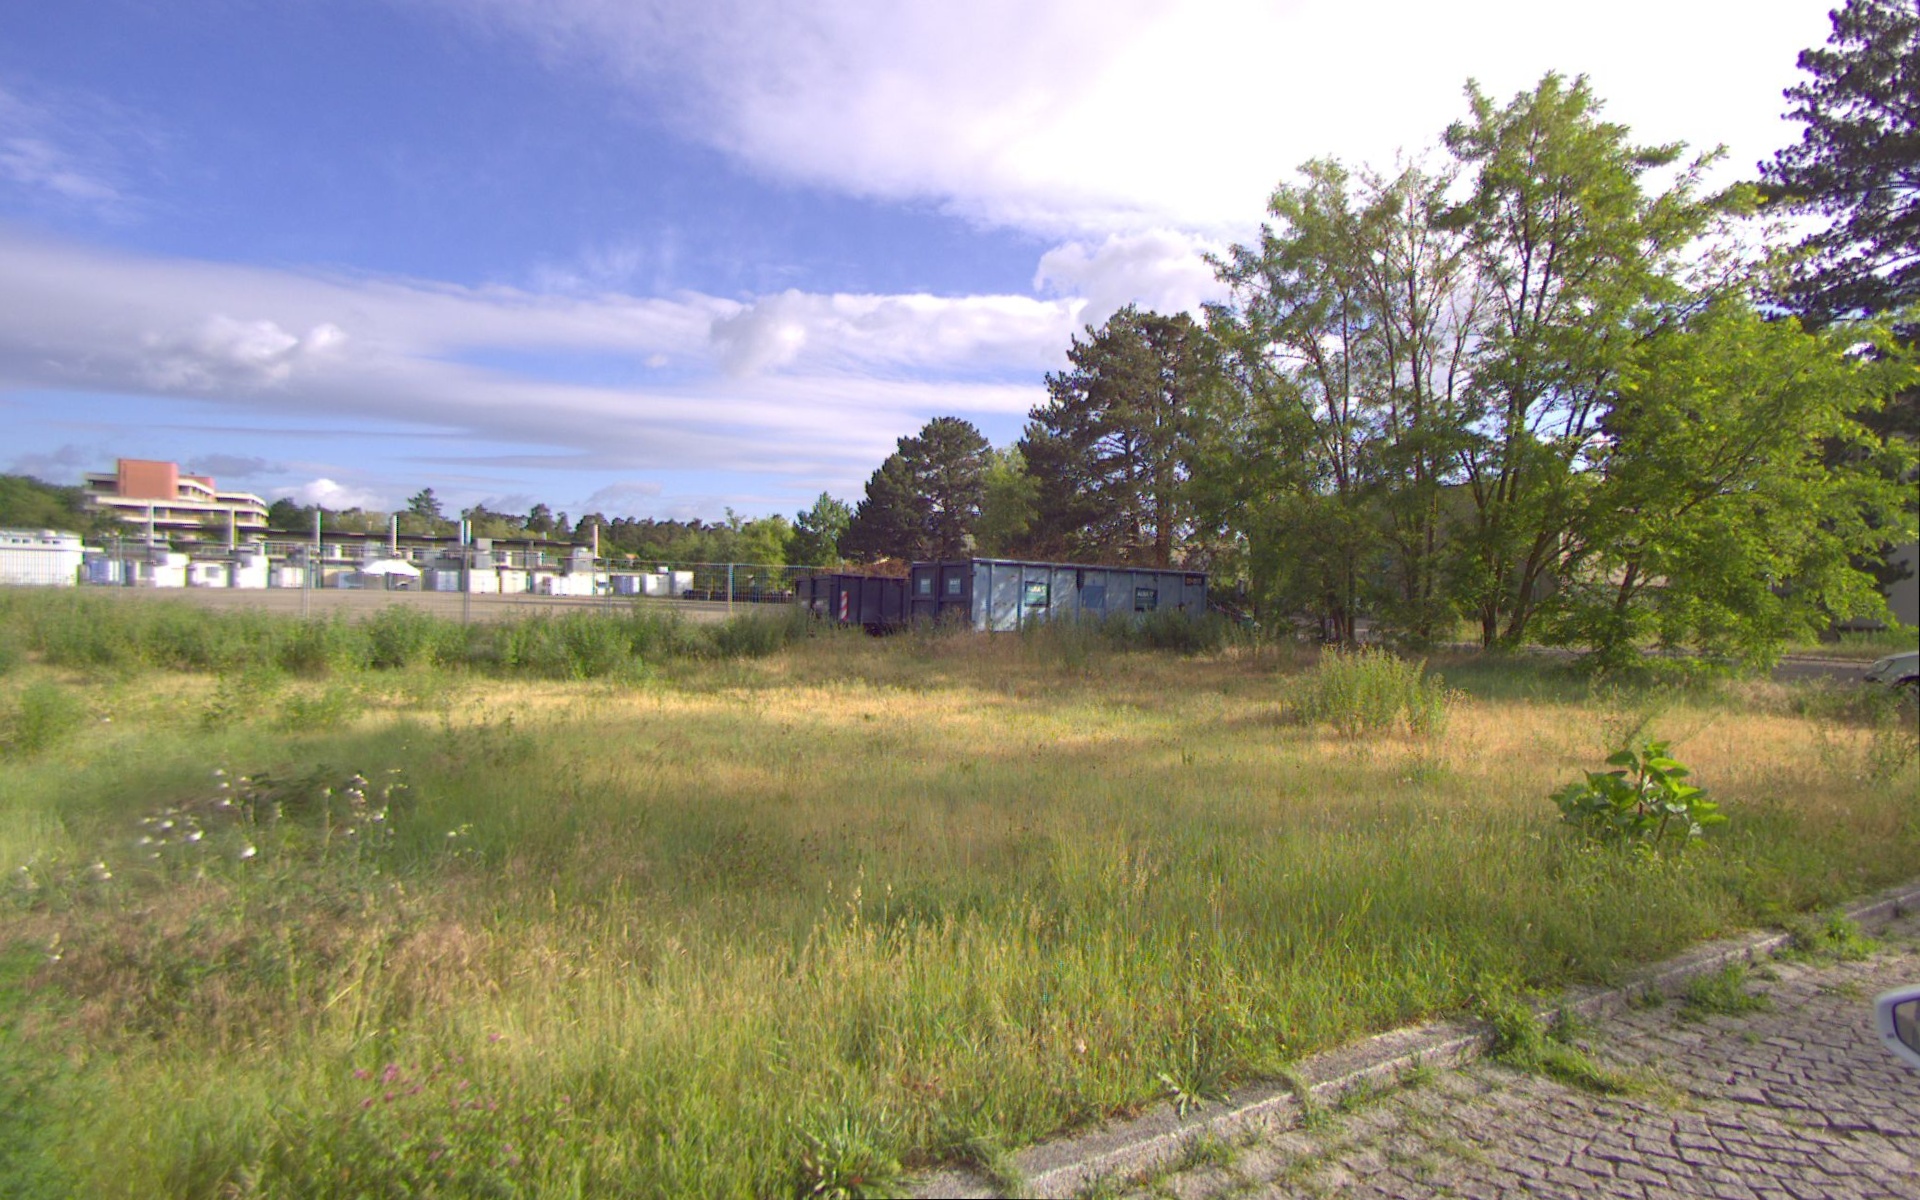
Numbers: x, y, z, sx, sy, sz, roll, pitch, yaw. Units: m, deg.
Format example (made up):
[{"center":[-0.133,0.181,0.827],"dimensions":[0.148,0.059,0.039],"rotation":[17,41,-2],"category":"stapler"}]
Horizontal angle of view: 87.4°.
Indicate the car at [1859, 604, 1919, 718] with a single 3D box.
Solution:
[{"center":[14.414,0.963,13.026],"dimensions":[1.829,1.493,3.663],"rotation":[2,3,-31],"category":"car"}]
